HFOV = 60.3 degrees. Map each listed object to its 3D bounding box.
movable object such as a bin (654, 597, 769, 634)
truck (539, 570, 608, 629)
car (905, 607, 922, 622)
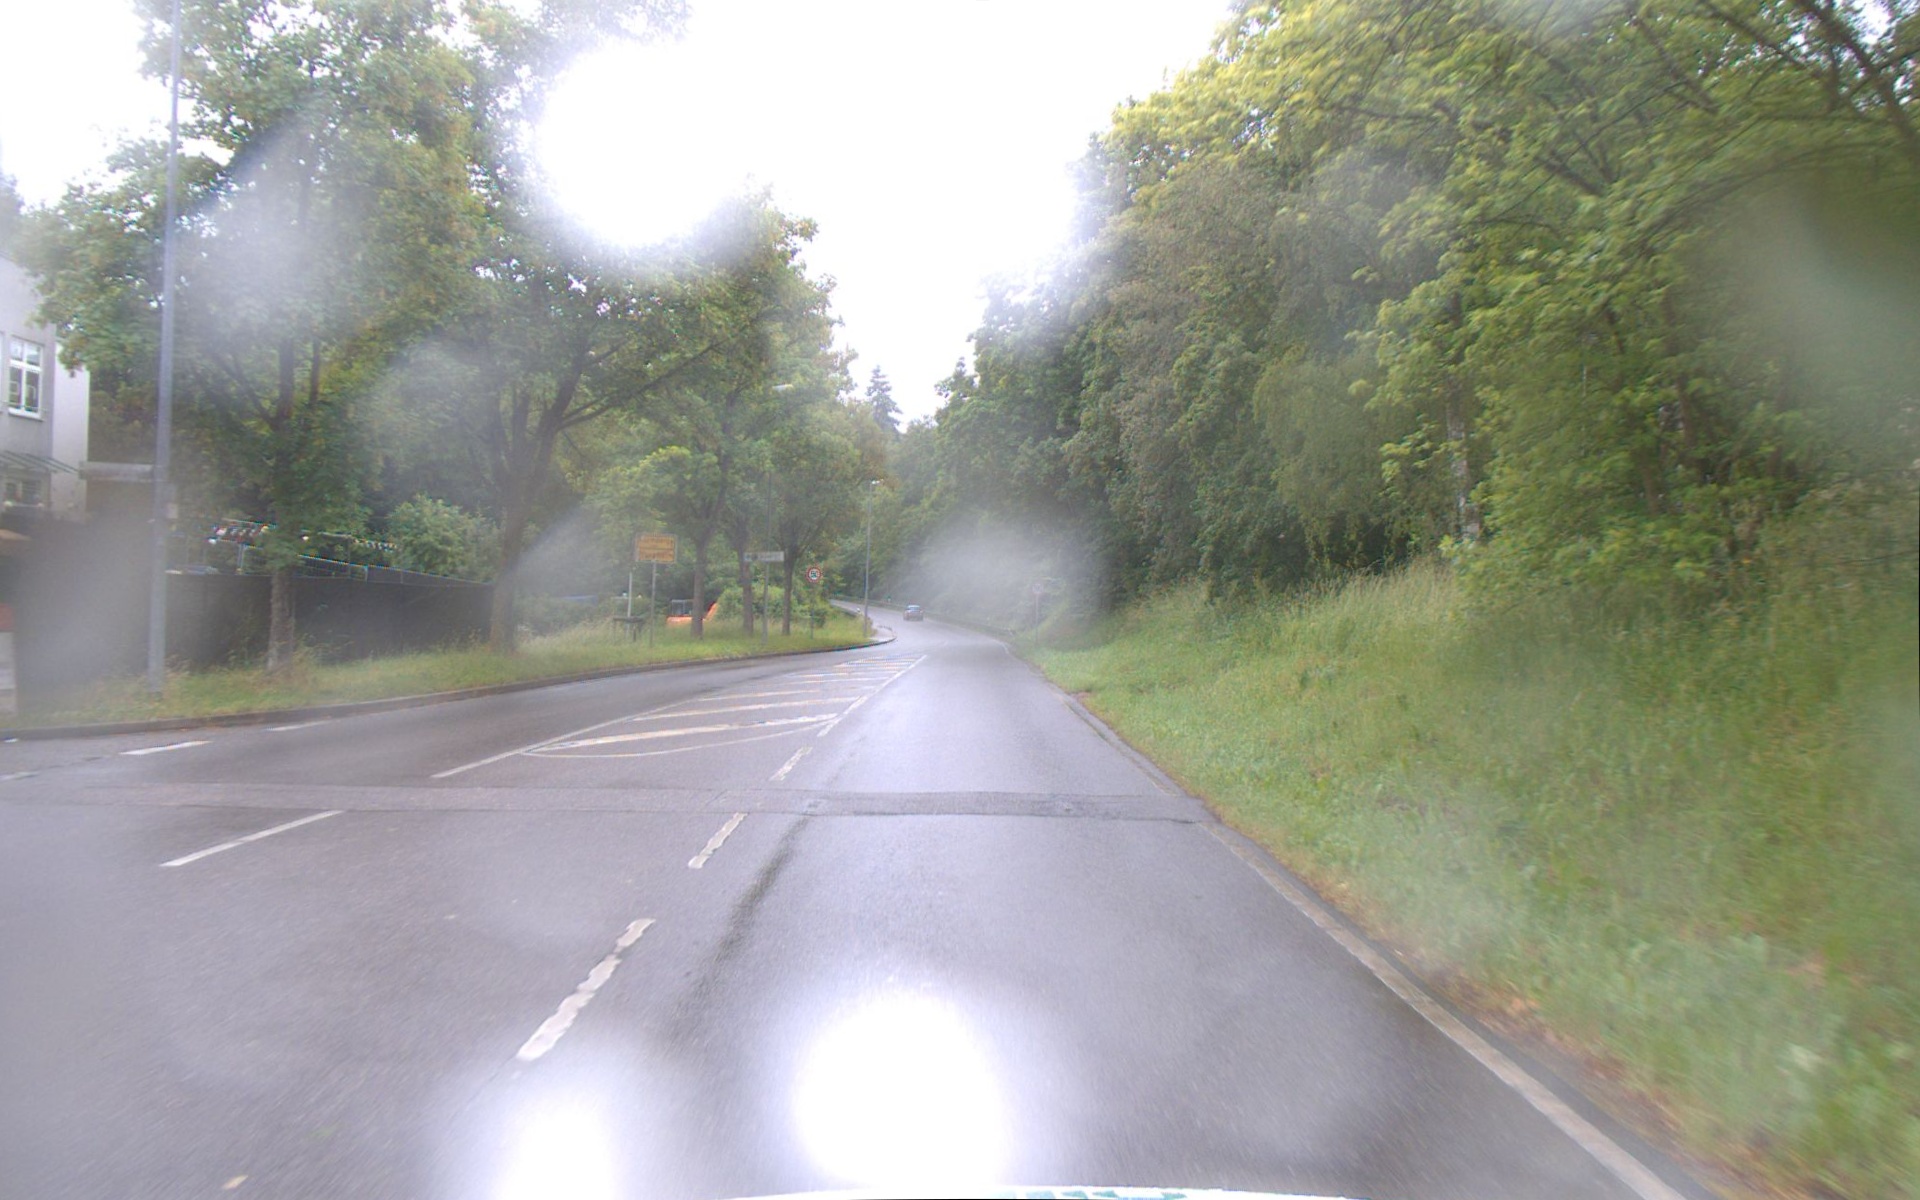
[{"bbox_3d":[-13.815,0.897,92.619,1.812,1.941,7.890,0,-1,31],"label":"movable object such as a bin"},{"bbox_3d":[-17.340,-0.026,74.482,1.953,2.501,5.221,2,0,-2],"label":"truck"},{"bbox_3d":[-4.738,1.465,169.842,1.701,1.537,3.999,0,0,-2],"label":"car"}]
